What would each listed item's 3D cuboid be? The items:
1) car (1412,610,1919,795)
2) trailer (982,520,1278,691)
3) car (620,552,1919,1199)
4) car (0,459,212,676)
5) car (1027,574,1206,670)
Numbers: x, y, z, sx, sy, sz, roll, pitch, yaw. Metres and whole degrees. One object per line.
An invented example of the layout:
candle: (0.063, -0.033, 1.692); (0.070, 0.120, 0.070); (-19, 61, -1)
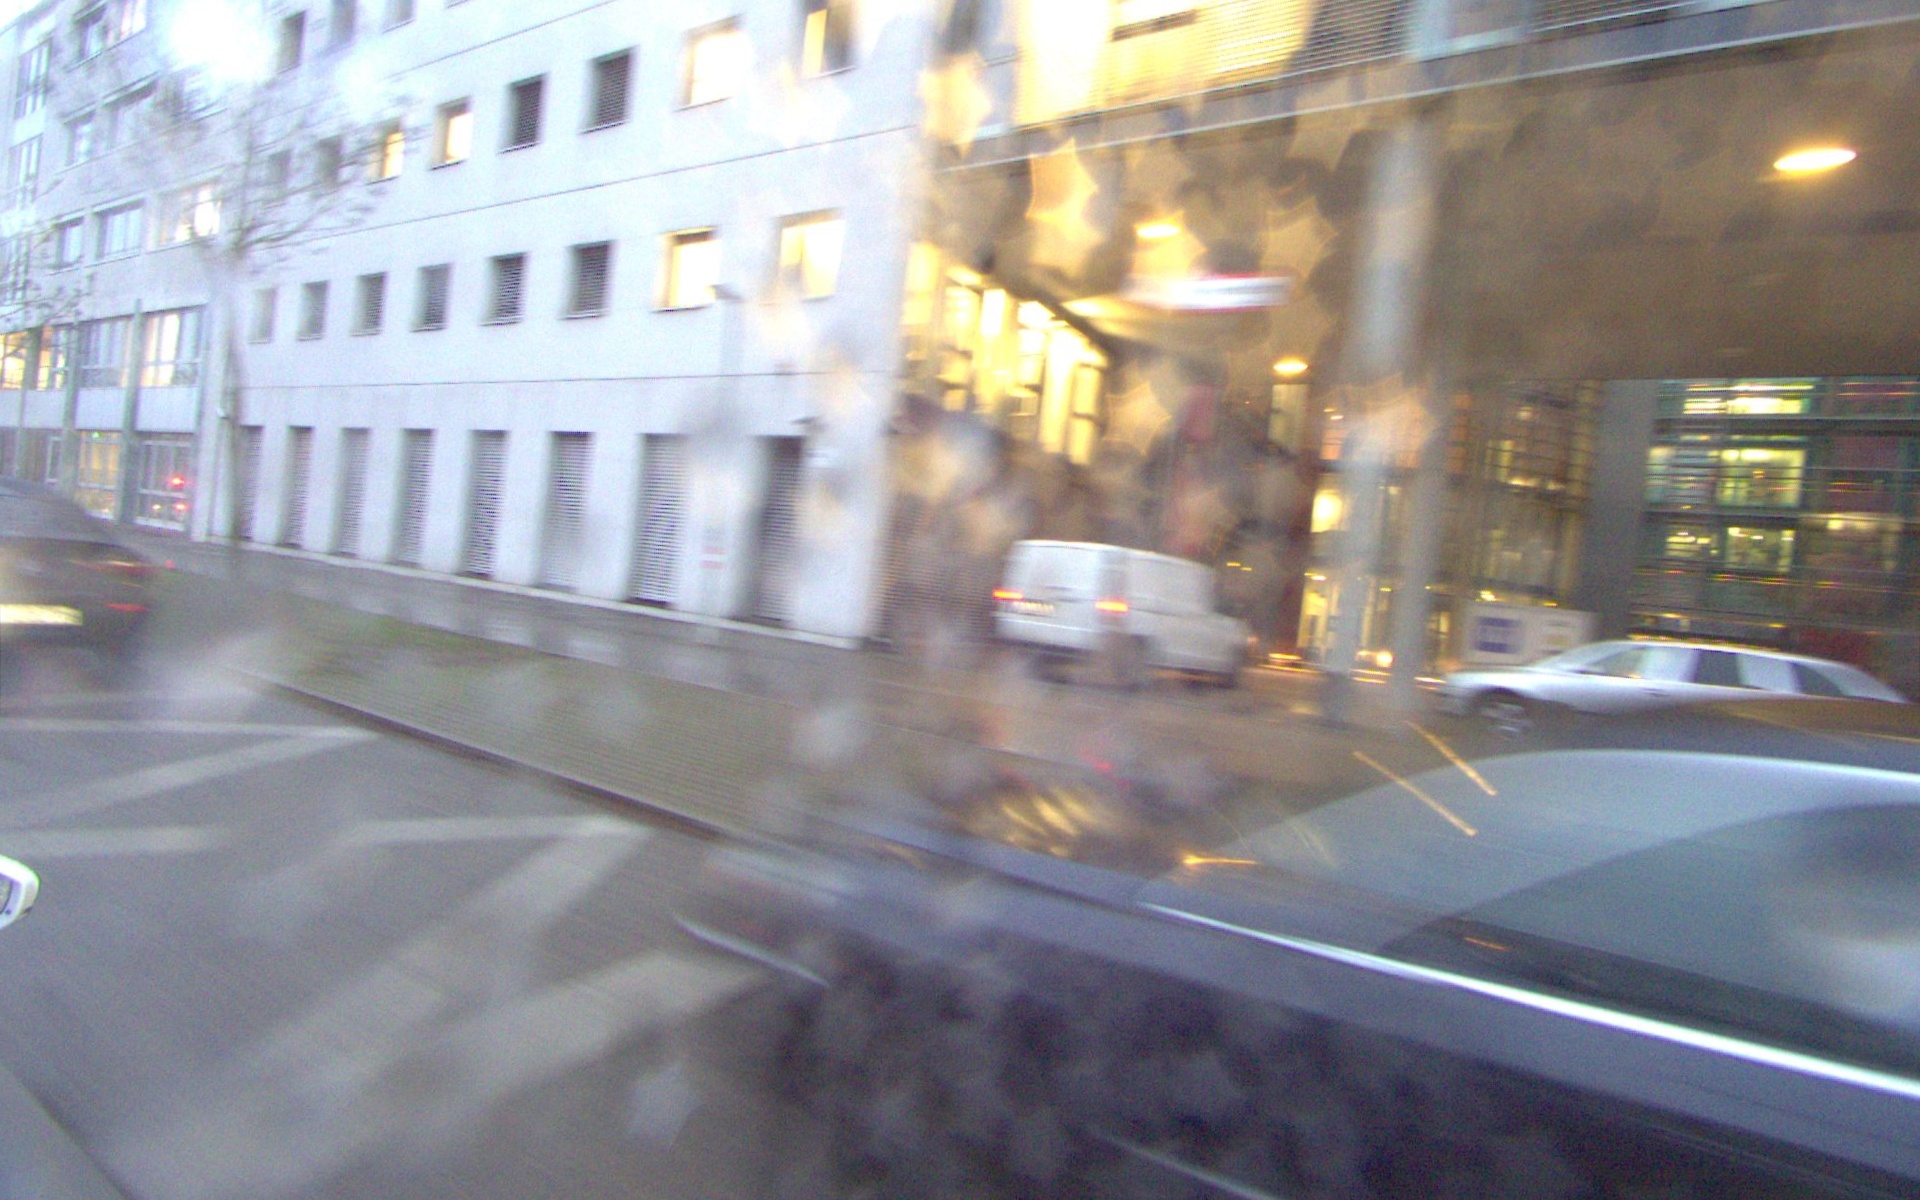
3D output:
car: (7.764, 1.077, 11.558); (4.454, 1.387, 1.635); (6, -2, 30)
trailer: (2.767, 0.206, 15.218); (2.098, 1.935, 5.066); (9, 0, 38)
car: (1.401, 0.836, 2.025); (4.159, 1.458, 1.597); (6, 0, 32)
car: (-8.005, -0.419, 8.222); (4.183, 1.419, 1.755); (7, -1, 36)
car: (3.225, 0.483, 20.181); (1.633, 1.537, 3.982); (8, 1, 39)
